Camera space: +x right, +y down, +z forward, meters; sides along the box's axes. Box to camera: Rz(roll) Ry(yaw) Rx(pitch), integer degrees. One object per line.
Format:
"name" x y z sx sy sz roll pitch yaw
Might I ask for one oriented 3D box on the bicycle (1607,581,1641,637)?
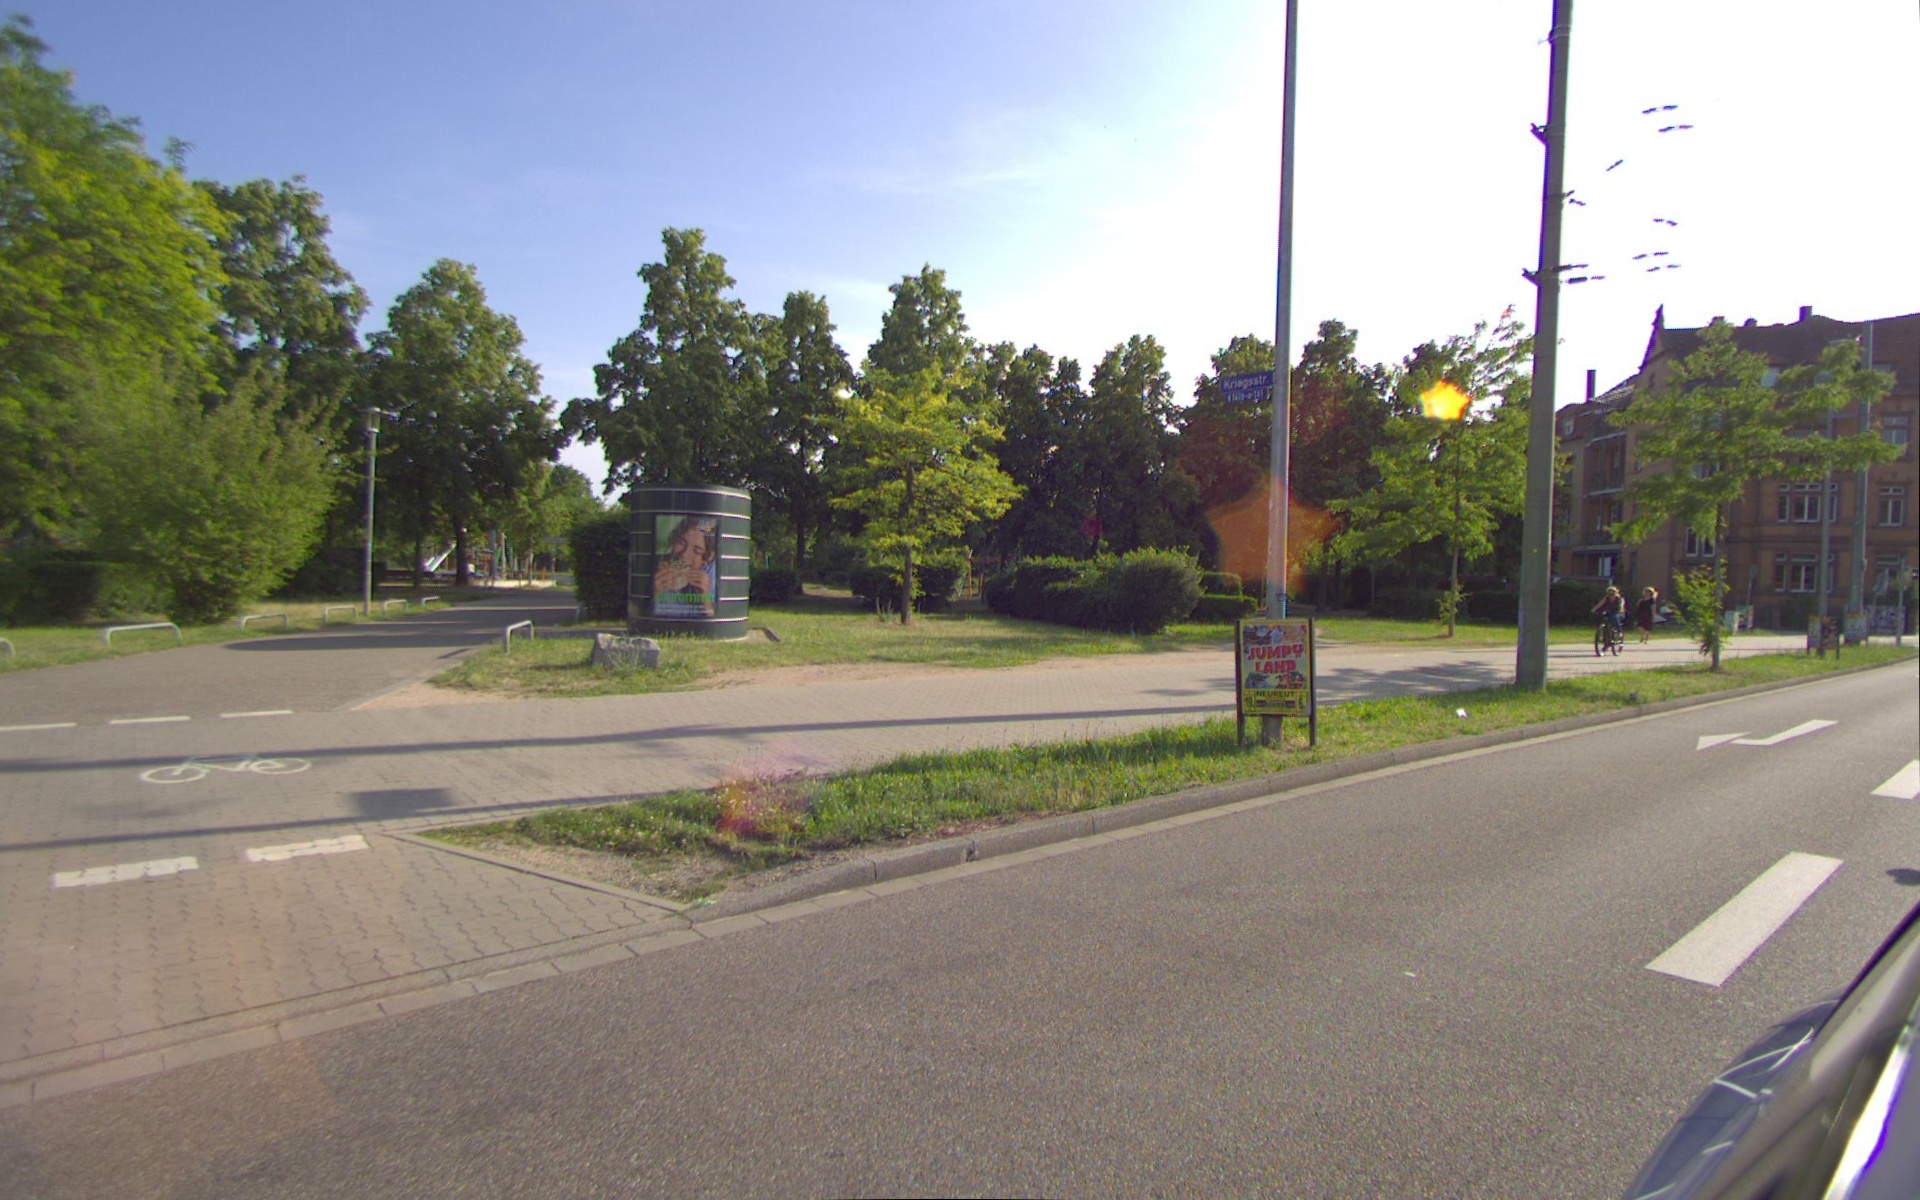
"bicycle" 15.796 0.208 24.085 0.570 1.314 0.681 1 0 28

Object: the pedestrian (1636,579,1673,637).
"pedestrian" 21.391 0.243 31.191 0.538 1.711 0.617 1 6 -37

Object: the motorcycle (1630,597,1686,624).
"motorcycle" 32.077 0.469 46.519 1.997 1.174 0.696 2 1 45

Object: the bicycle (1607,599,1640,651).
"bicycle" 15.822 0.584 24.155 0.480 1.205 1.326 1 0 27
